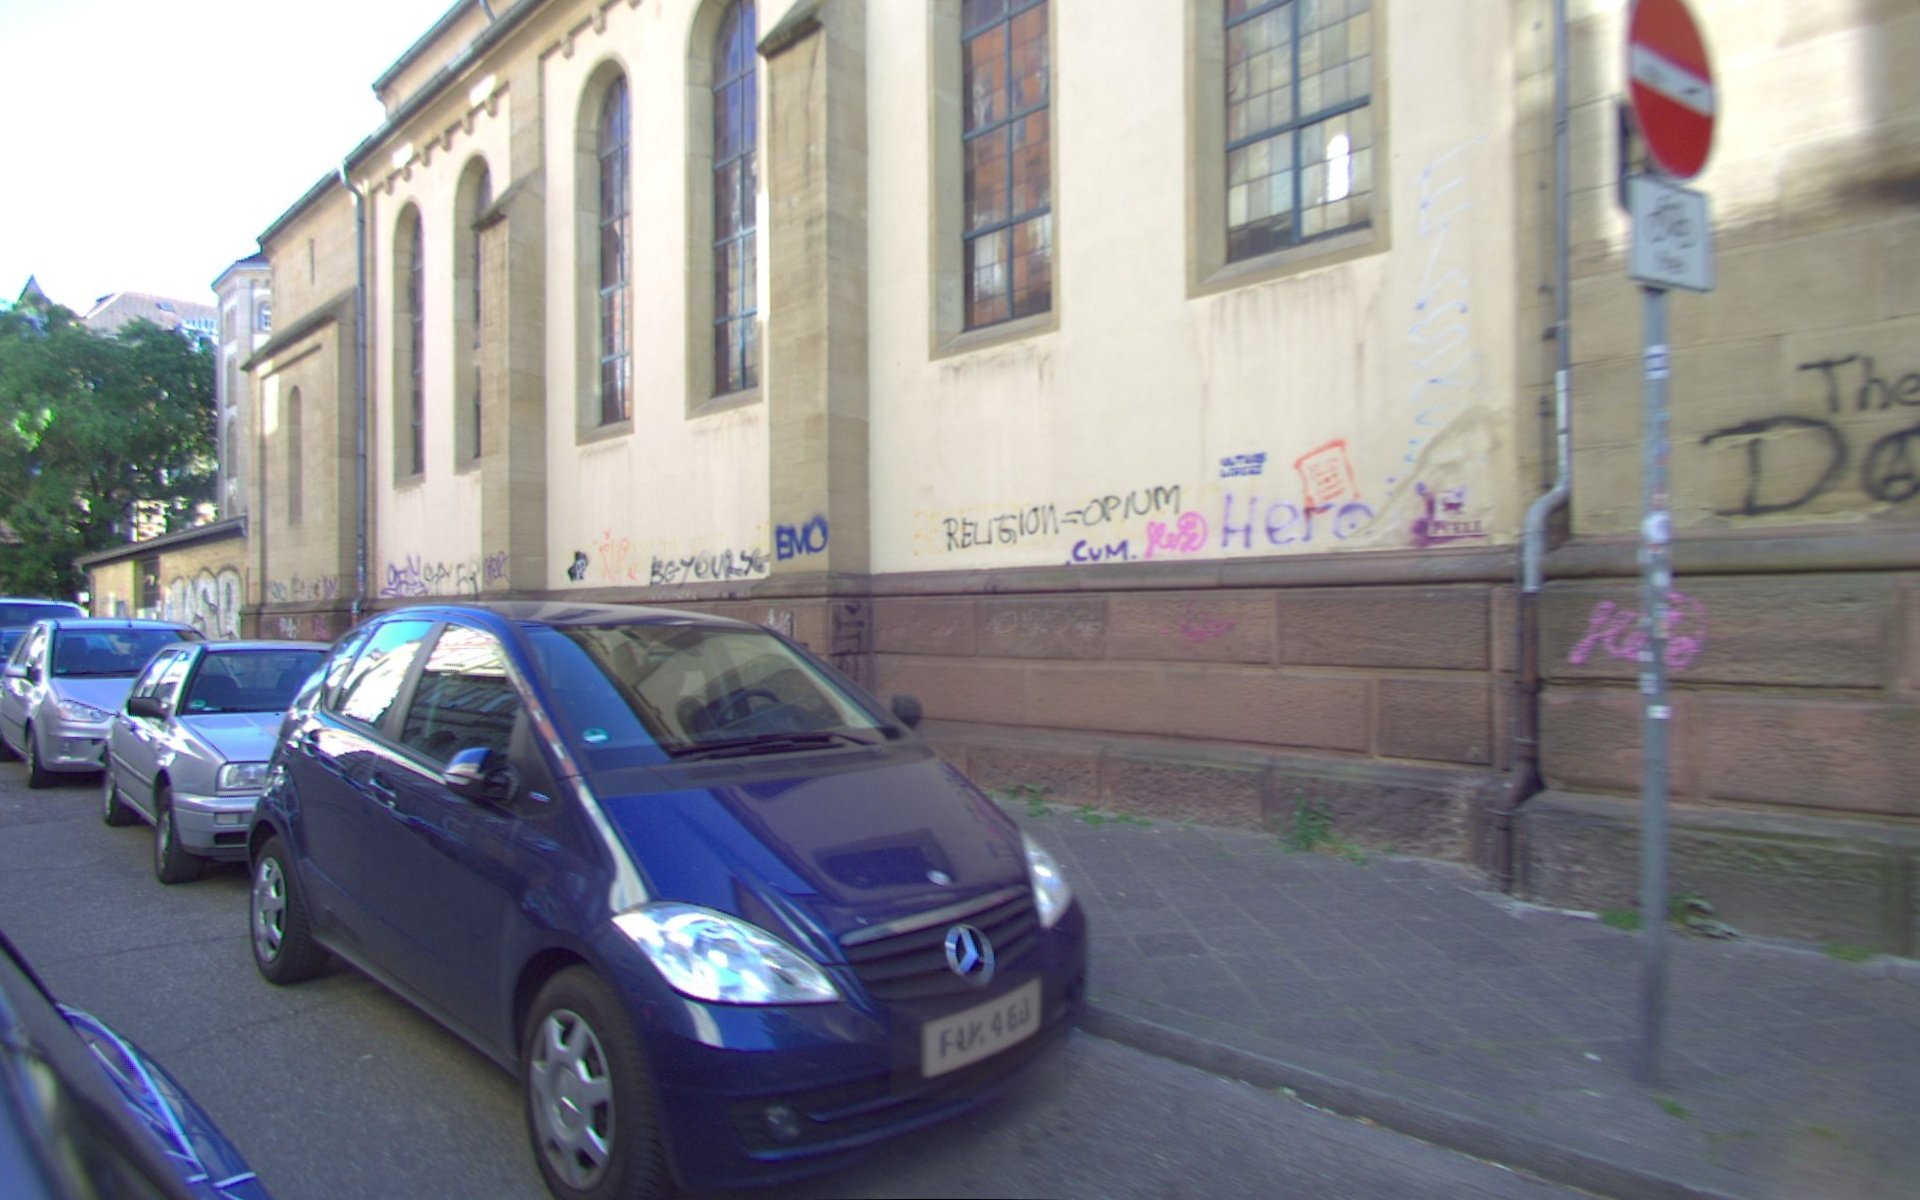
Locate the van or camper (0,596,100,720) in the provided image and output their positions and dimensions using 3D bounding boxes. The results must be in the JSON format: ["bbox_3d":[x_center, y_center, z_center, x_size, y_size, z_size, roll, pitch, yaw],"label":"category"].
[{"bbox_3d":[-16.838,0.975,17.846,4.561,1.966,1.958,-2,-1,42],"label":"van or camper"}]

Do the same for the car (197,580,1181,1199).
[{"bbox_3d":[-1.320,0.757,3.805,3.833,1.564,1.775,-1,0,42],"label":"car"}]

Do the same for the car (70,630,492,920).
[{"bbox_3d":[-4.942,0.944,7.103,4.146,1.374,1.555,-1,0,43],"label":"car"}]

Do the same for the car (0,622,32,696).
[{"bbox_3d":[-22.210,1.309,22.755,3.639,1.578,1.631,-2,-1,42],"label":"car"}]

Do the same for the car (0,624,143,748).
[{"bbox_3d":[-12.782,1.112,14.056,3.735,1.492,1.674,-2,-1,42],"label":"car"}]

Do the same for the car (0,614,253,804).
[{"bbox_3d":[-8.962,0.960,10.627,4.000,1.579,1.701,-1,0,43],"label":"car"}]
